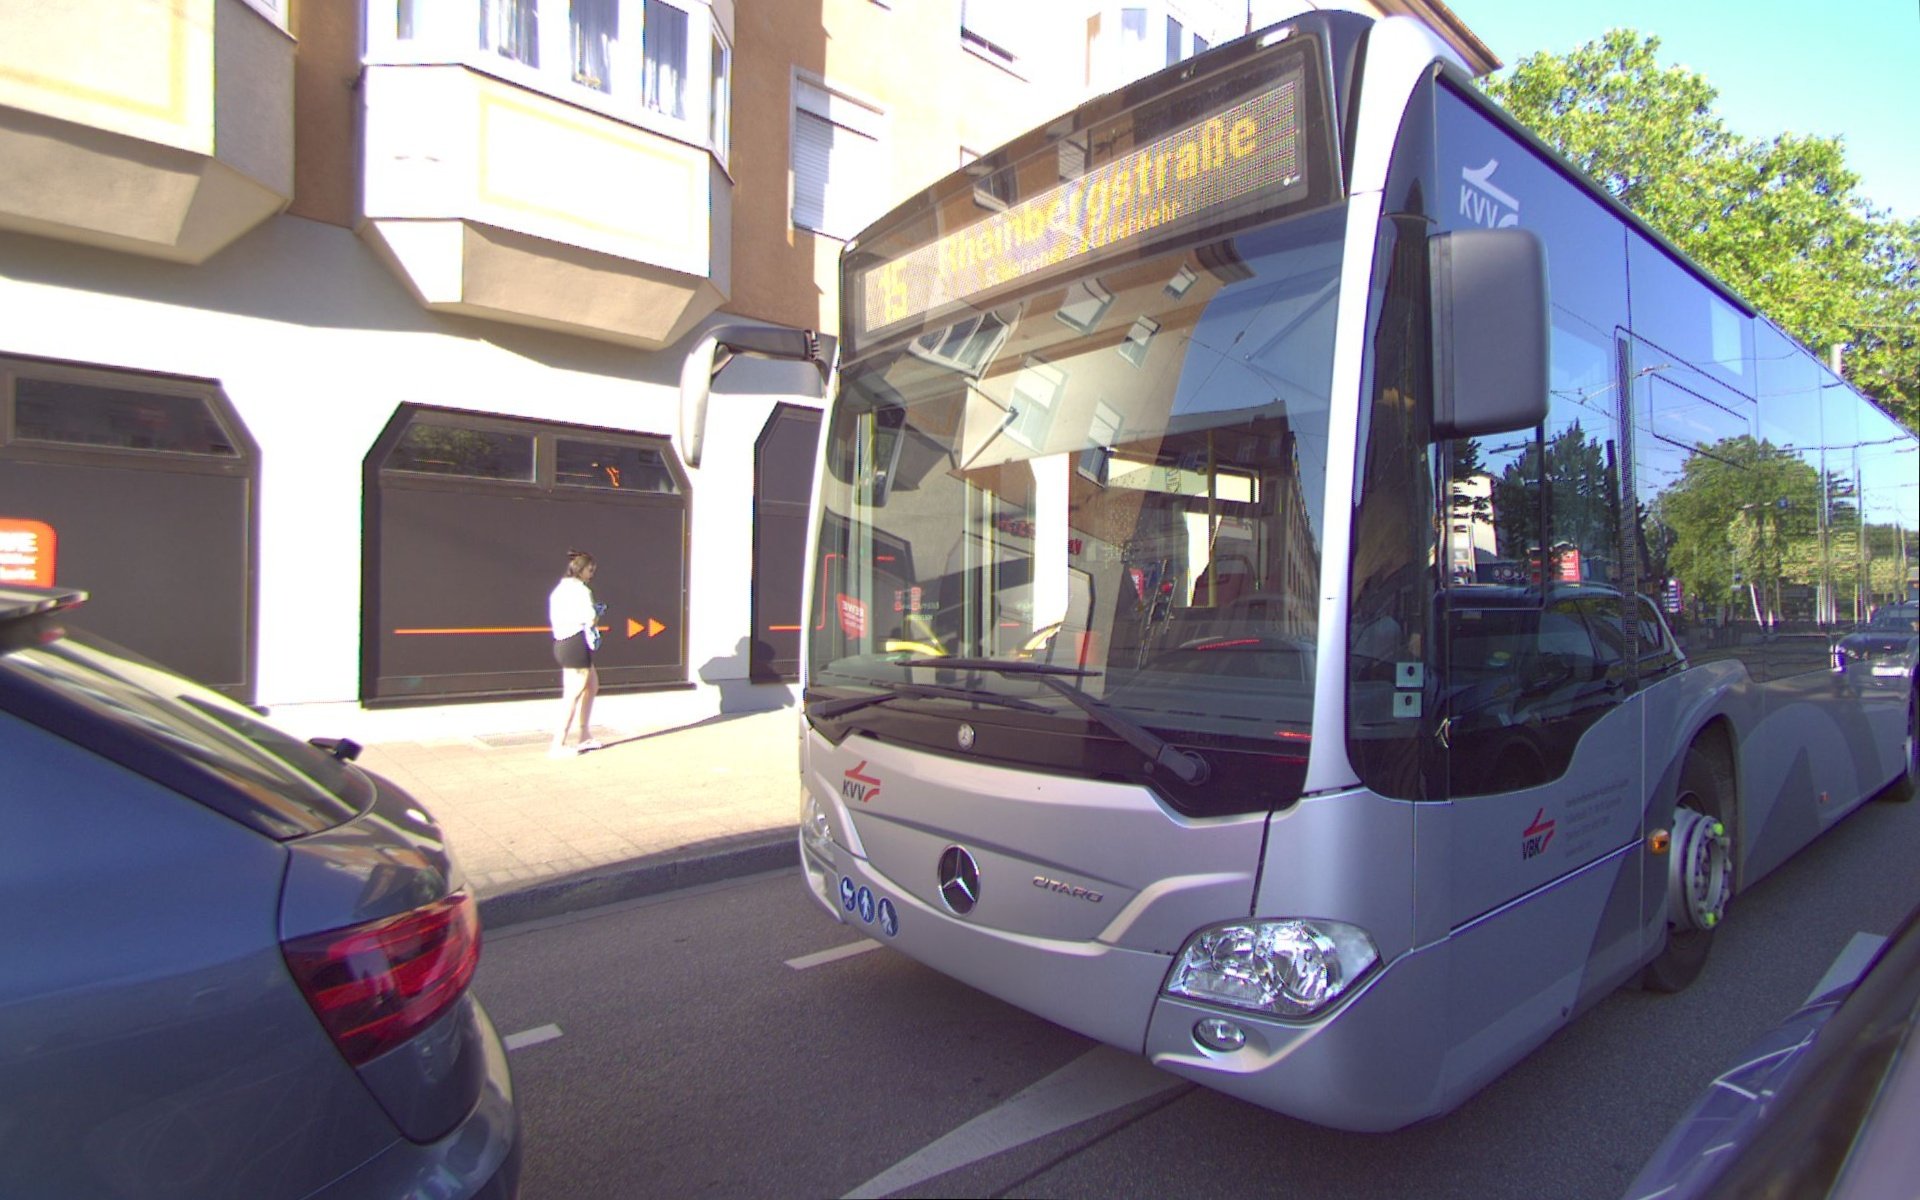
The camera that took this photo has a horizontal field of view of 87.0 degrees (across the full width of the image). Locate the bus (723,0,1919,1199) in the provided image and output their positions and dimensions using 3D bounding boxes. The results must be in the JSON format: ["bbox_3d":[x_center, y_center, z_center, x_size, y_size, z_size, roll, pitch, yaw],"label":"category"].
[{"bbox_3d":[6.511,-0.233,8.721,17.432,3.189,2.771,0,1,-41],"label":"bus"}]

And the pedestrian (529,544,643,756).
[{"bbox_3d":[-2.978,0.365,8.061,0.657,1.603,0.580,0,1,-43],"label":"pedestrian"}]

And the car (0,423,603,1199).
[{"bbox_3d":[-2.579,0.626,0.604,4.151,1.572,1.700,0,-1,-41],"label":"car"}]
